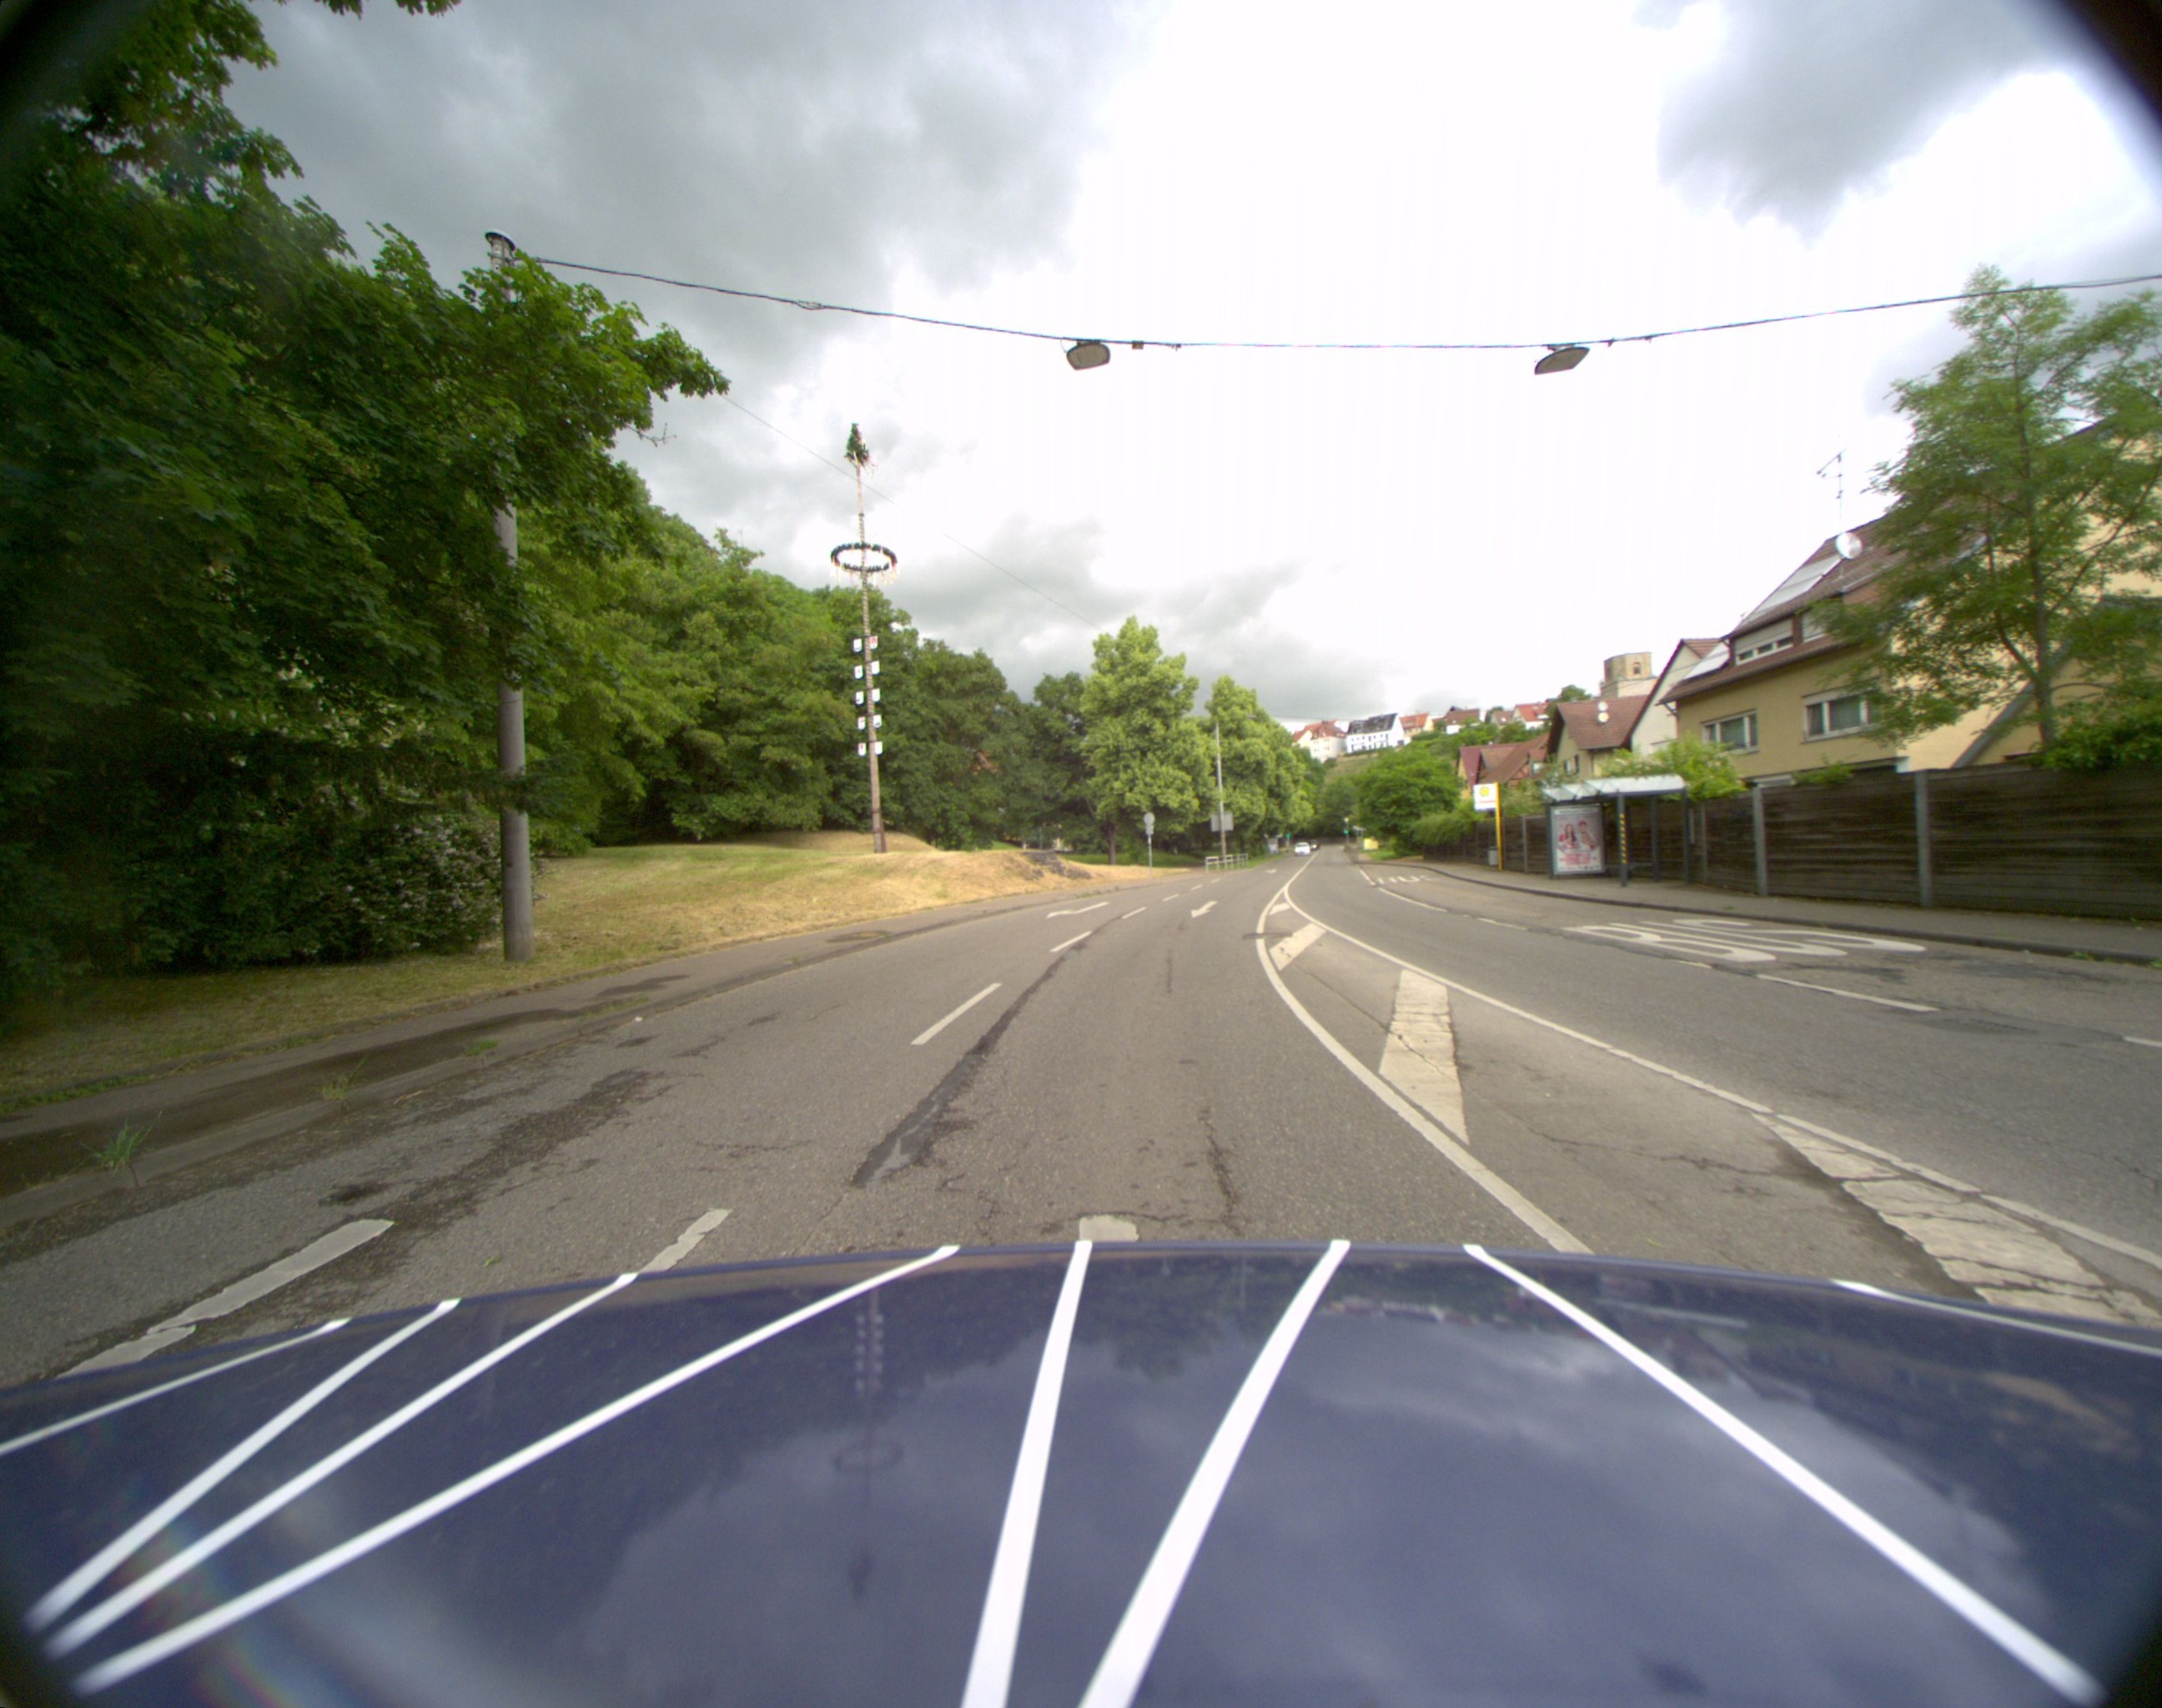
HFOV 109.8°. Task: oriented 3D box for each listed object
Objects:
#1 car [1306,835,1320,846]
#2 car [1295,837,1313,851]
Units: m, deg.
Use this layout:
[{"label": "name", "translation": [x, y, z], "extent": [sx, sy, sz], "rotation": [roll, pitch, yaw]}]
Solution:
[{"label": "car", "translation": [35.776, -2.072, 117.230], "extent": [1.761, 1.575, 3.688], "rotation": [-2, 1, 22]}, {"label": "car", "translation": [26.300, -1.150, 89.479], "extent": [1.761, 1.516, 3.688], "rotation": [-2, 1, 19]}]
